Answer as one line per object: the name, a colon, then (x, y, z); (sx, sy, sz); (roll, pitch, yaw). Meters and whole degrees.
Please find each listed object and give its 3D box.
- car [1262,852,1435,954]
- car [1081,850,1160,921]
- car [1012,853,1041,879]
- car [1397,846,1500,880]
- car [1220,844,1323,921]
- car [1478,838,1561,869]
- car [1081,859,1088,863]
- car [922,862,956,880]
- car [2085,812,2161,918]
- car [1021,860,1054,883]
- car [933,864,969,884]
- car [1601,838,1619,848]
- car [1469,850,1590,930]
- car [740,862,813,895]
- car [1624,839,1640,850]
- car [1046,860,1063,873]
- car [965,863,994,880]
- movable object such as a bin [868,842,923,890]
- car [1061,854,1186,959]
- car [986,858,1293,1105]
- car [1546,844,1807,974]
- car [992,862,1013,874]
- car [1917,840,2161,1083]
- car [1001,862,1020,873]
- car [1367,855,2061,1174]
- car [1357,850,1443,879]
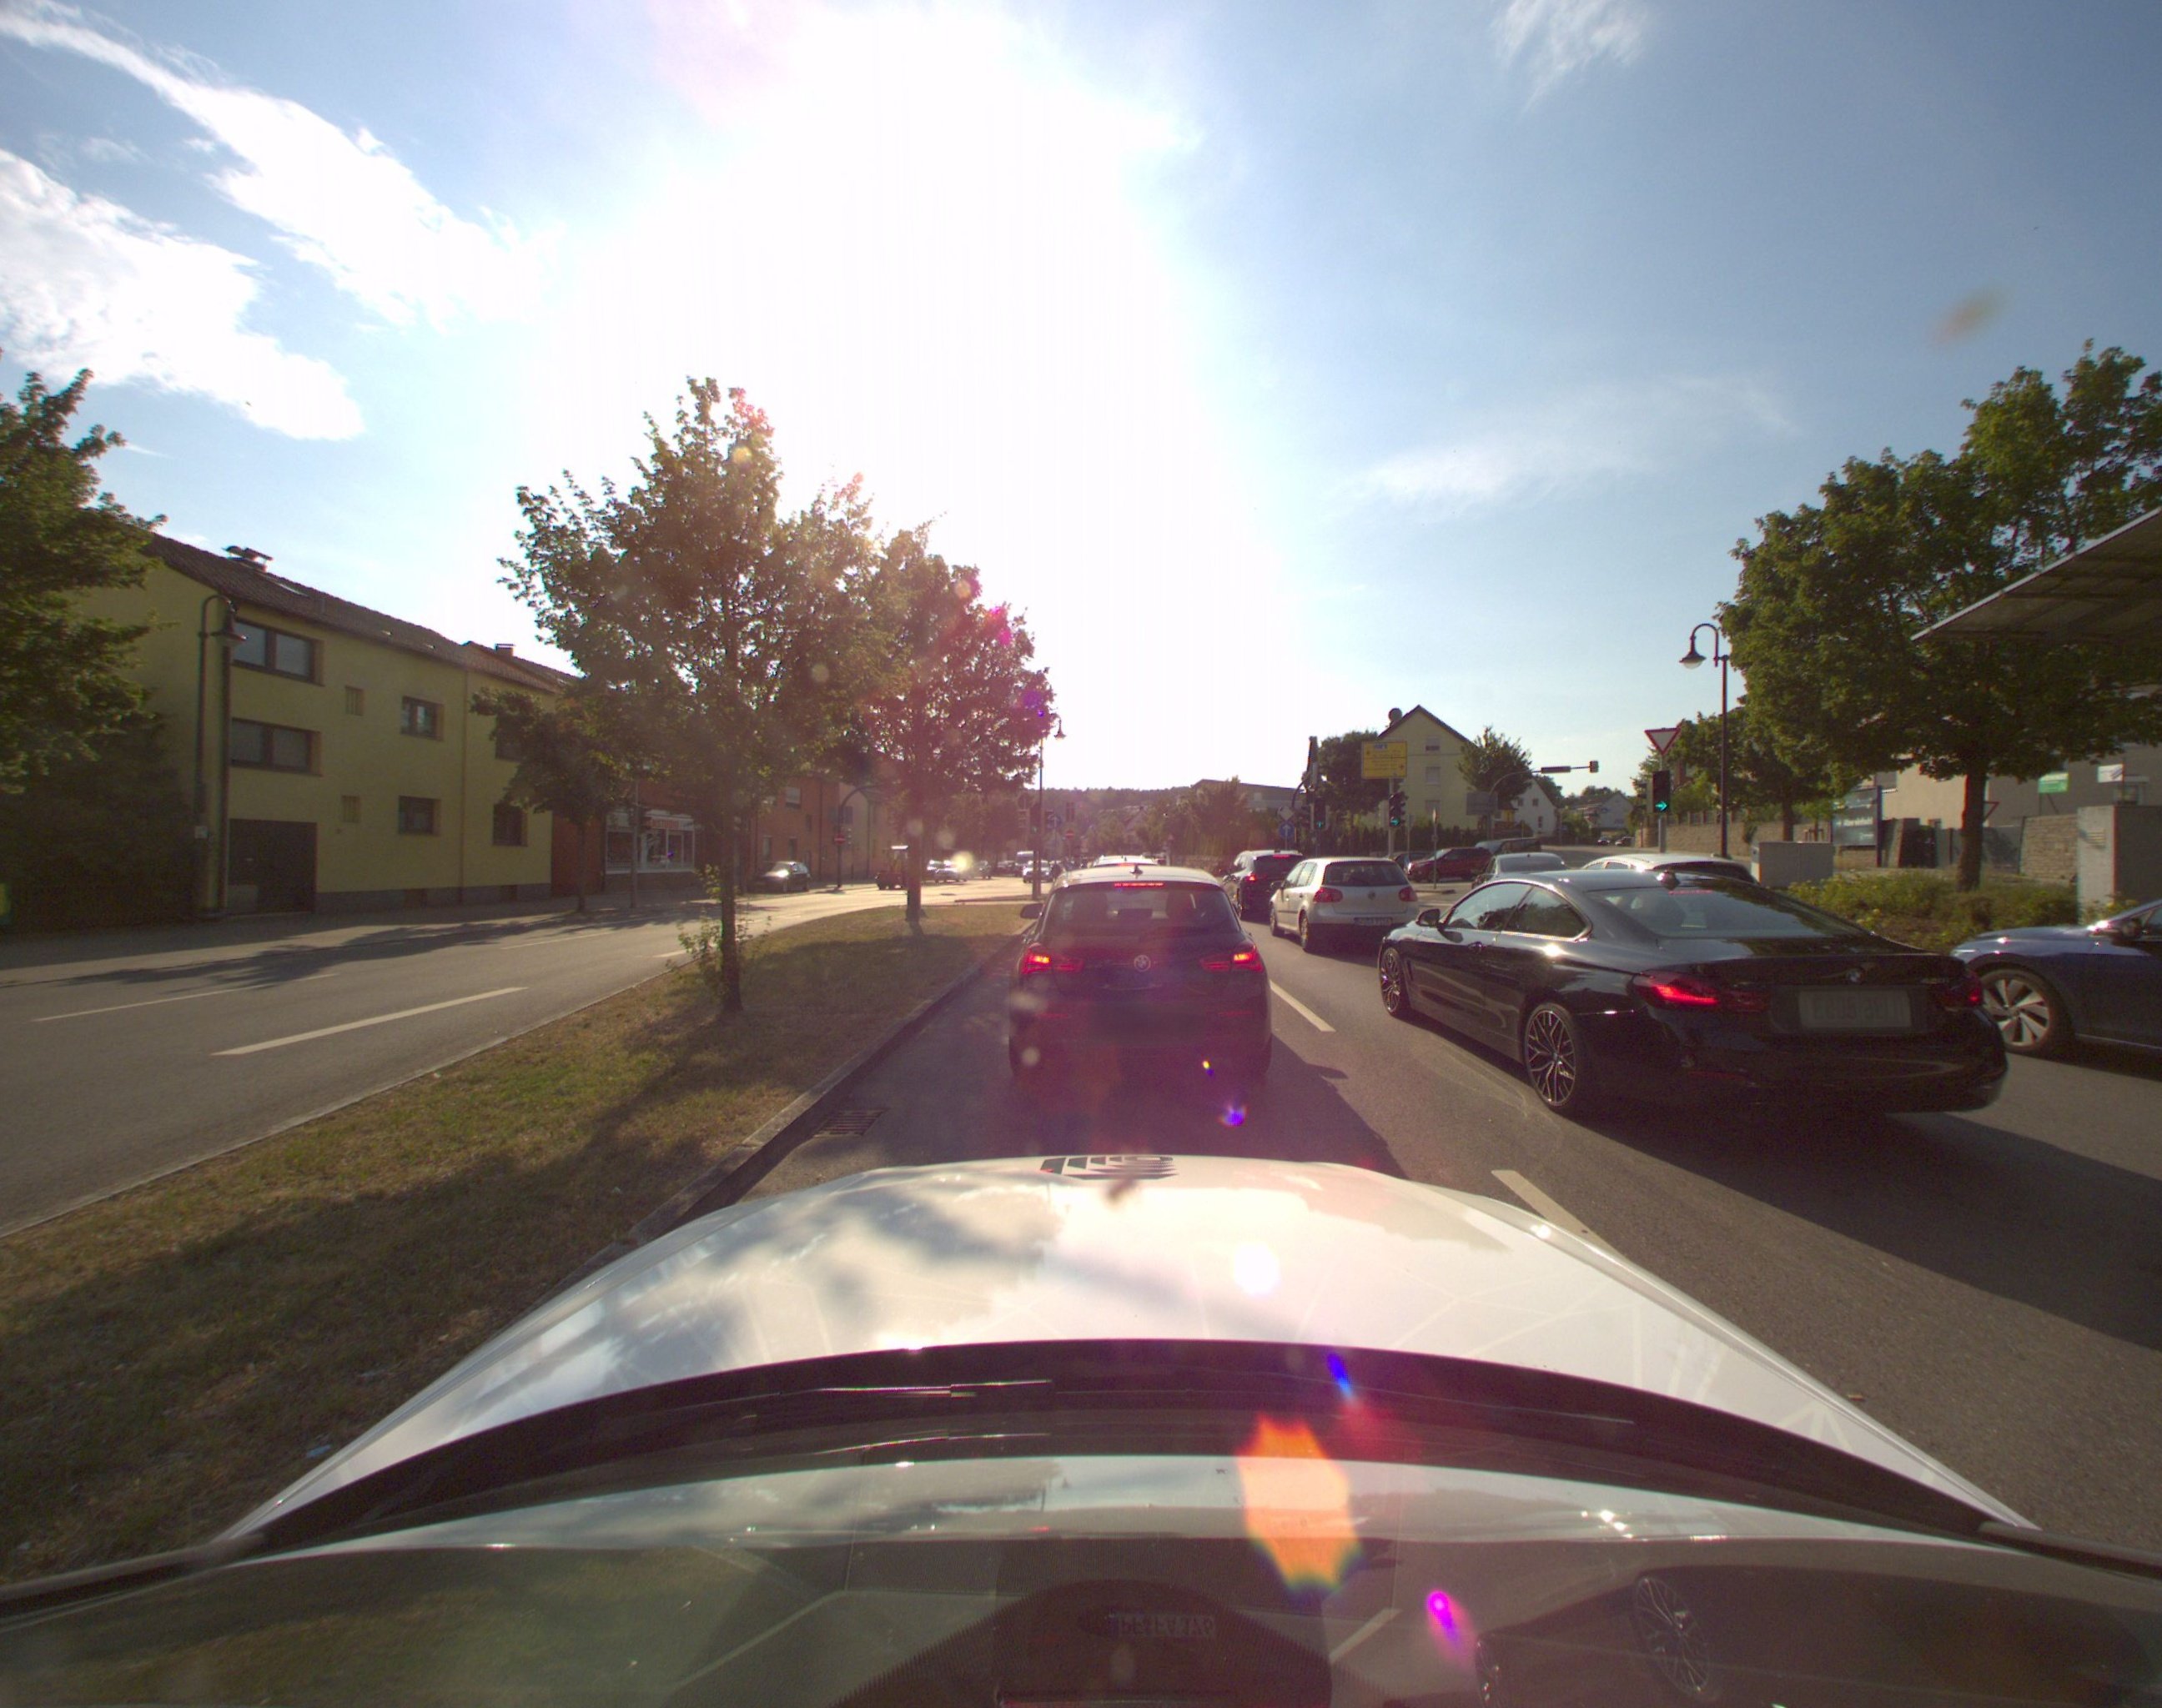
car: (4.321, 0.713, 13.783); (1.755, 1.426, 3.905); (-2, 0, 2)
car: (1.020, 0.737, 21.171); (1.781, 1.594, 4.283); (-2, 0, 2)
car: (-5.183, 1.103, 78.421); (2.075, 2.394, 5.534); (0, 0, 4)
car: (18.349, 0.451, 40.757); (4.410, 1.641, 1.845); (0, 0, -6)
car: (4.568, 0.646, 20.065); (1.755, 1.656, 3.905); (-2, 0, 2)
car: (25.233, -0.045, 46.833); (4.794, 1.739, 1.832); (0, 0, -27)
car: (1.099, 2.173, 262.770); (1.729, 1.301, 3.804); (4, 0, 5)
car: (-11.744, 1.422, 67.614); (1.728, 1.301, 4.006); (4, 0, 6)
car: (18.493, 0.153, 12.405); (3.793, 1.632, 1.784); (0, 0, 10)
car: (-2.952, 1.151, 55.757); (1.832, 1.482, 4.002); (-1, 0, 2)
car: (-9.596, 1.472, 60.393); (1.729, 1.301, 3.804); (4, 0, 5)
car: (90.970, -1.953, 140.079); (1.946, 1.680, 4.241); (-2, 0, 41)
car: (9.889, 0.710, 18.280); (1.642, 1.542, 4.420); (-2, 0, 19)
car: (-14.139, 1.112, 38.052); (1.730, 1.301, 4.002); (4, 0, 2)
car: (89.990, -1.575, 132.917); (1.945, 1.680, 4.242); (-2, 0, 36)
car: (-3.324, 1.593, 103.593); (1.831, 1.482, 4.004); (-1, 0, 4)
car: (-8.995, 1.539, 72.213); (1.729, 1.301, 3.804); (4, 0, 5)
movable object such as a bin: (-10.025, 0.641, 44.364); (1.729, 2.442, 4.452); (-1, 0, 3)
car: (0.719, 0.777, 14.132); (1.781, 1.494, 4.283); (-2, 0, 2)
car: (0.441, 0.770, 6.987); (1.781, 1.397, 4.283); (-2, 0, 2)
car: (8.110, 0.667, 11.484); (1.608, 1.542, 3.326); (-2, 0, 9)
car: (-9.348, 1.647, 97.588); (1.729, 1.301, 3.804); (4, 0, 5)
car: (7.425, 0.647, 4.292); (1.754, 1.453, 4.323); (-2, 0, 4)
car: (-8.861, 1.684, 103.033); (1.729, 1.301, 3.804); (4, 0, 5)
car: (3.619, 0.736, 5.842); (1.755, 1.397, 4.283); (-2, 0, 2)
car: (17.345, 0.564, 44.380); (3.974, 1.489, 1.848); (0, 0, -1)
